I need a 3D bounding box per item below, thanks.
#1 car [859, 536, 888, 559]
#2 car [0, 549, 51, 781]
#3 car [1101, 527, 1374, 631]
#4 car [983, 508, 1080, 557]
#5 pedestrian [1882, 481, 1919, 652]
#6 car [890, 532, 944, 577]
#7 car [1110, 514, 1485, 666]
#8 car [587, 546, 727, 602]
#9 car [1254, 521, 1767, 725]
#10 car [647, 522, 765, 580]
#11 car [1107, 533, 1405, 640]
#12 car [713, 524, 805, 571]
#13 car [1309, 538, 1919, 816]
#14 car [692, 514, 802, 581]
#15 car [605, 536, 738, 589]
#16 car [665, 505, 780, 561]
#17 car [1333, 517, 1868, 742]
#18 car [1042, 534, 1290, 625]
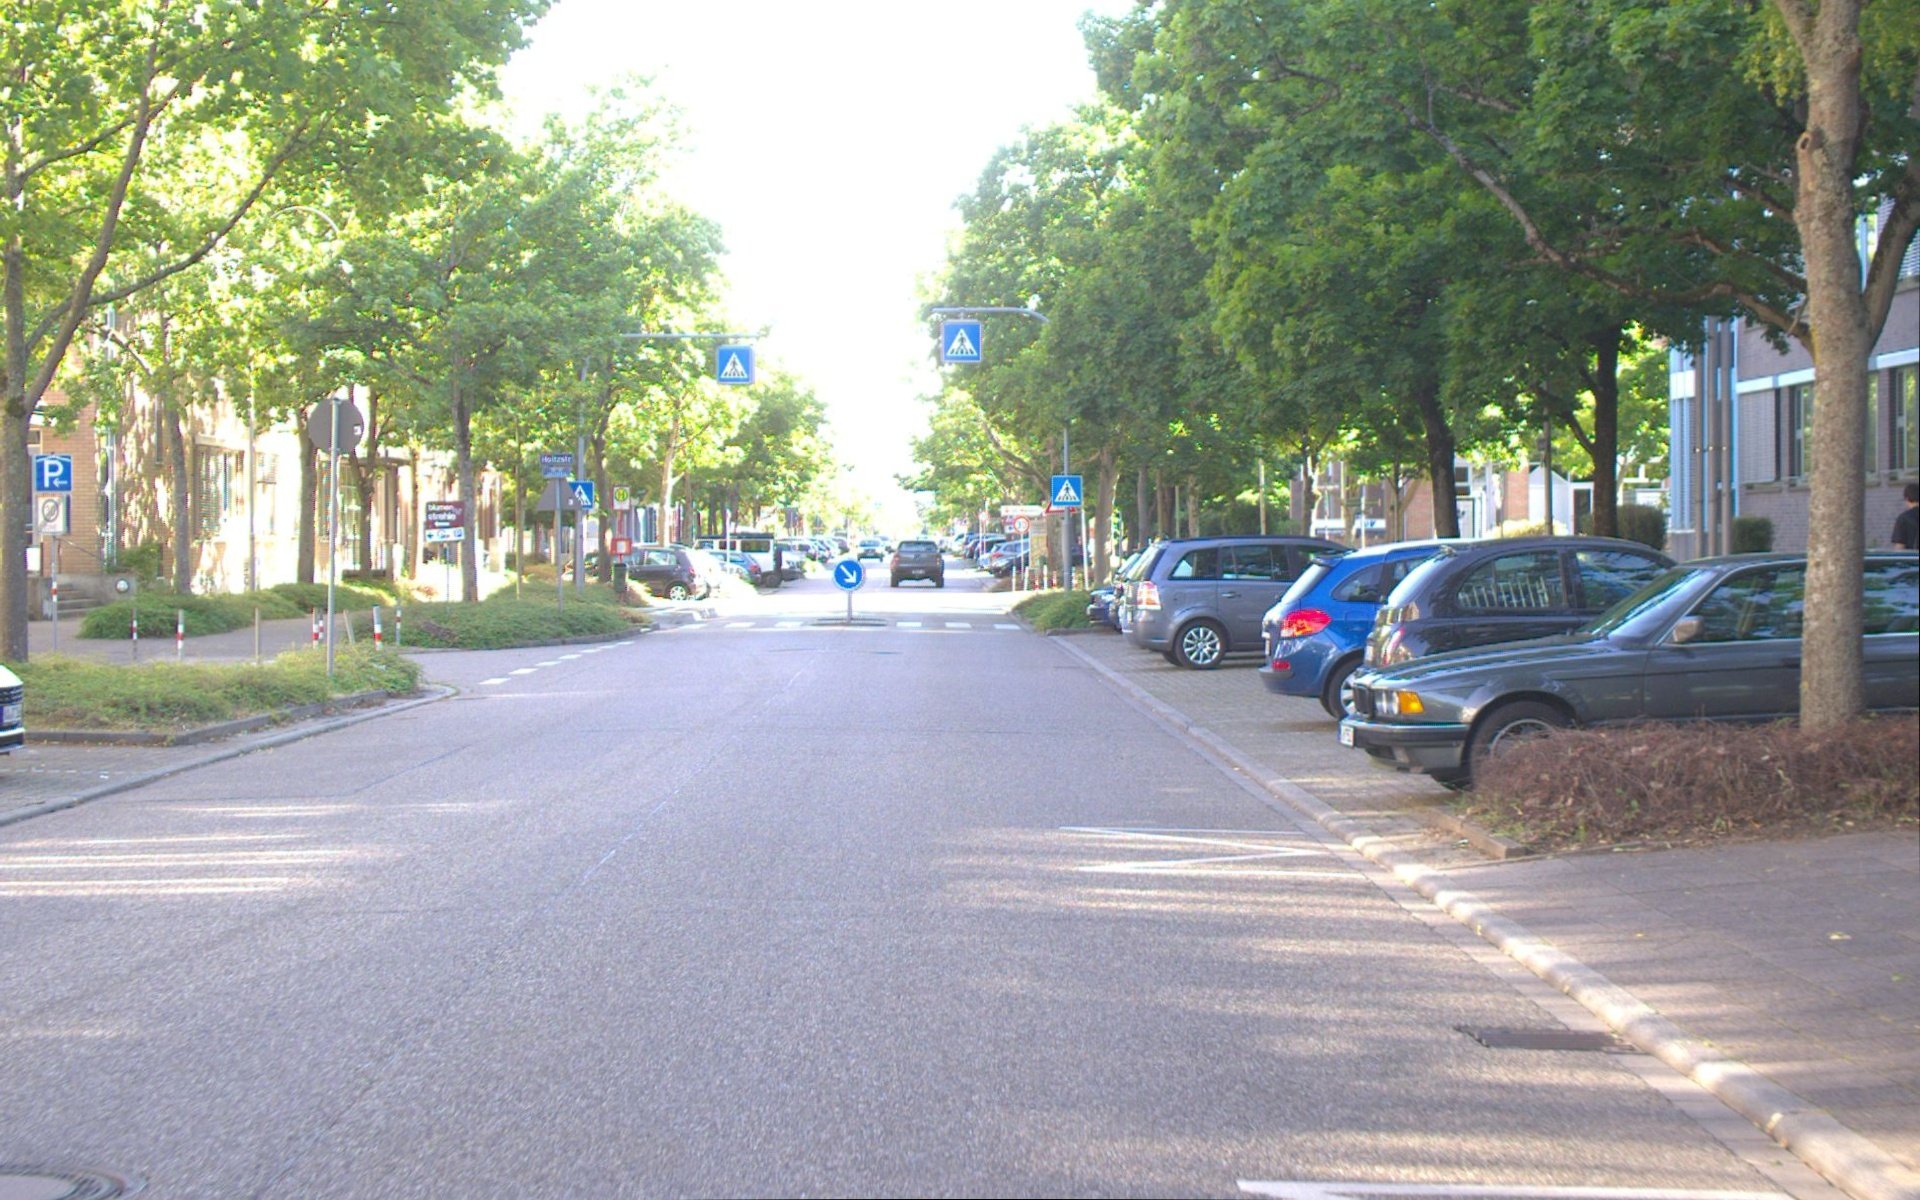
[{"bbox_3d":[-5.755,-3.475,228.854,1.813,1.519,4.000,-1,1,0],"label":"car"},{"bbox_3d":[-8.161,0.394,22.446,3.986,1.481,1.807,1,1,-1],"label":"car"},{"bbox_3d":[4.511,-0.356,56.187,4.190,1.531,1.813,-2,1,-3],"label":"car"},{"bbox_3d":[3.036,-2.871,146.544,3.986,2.007,2.000,-1,1,-2],"label":"car"},{"bbox_3d":[10.016,-0.350,35.581,0.607,1.739,1.191,-1,1,-1],"label":"pedestrian"},{"bbox_3d":[-1.637,-1.732,130.770,1.993,1.634,4.000,1,1,-1],"label":"car"},{"bbox_3d":[4.149,-0.137,42.681,4.350,1.698,1.813,-2,1,-3],"label":"car"},{"bbox_3d":[-8.587,-0.742,97.187,3.847,1.468,1.813,1,1,-7],"label":"car"},{"bbox_3d":[4.502,0.171,28.551,3.949,1.509,1.813,-2,1,1],"label":"car"},{"bbox_3d":[-9.168,-1.769,124.113,3.987,2.007,2.000,-1,1,4],"label":"car"},{"bbox_3d":[4.411,-0.213,51.588,4.190,1.443,1.813,-2,1,-3],"label":"car"},{"bbox_3d":[-8.882,-2.331,151.894,3.986,2.007,2.000,-1,1,-2],"label":"car"},{"bbox_3d":[4.604,0.389,20.107,4.824,1.415,2.032,-2,1,-2],"label":"car"},{"bbox_3d":[-8.207,-2.026,132.671,3.987,2.532,1.862,1,1,4],"label":"car"},{"bbox_3d":[-8.582,-1.112,101.995,3.848,1.468,1.813,1,1,-6],"label":"car"},{"bbox_3d":[-8.802,-2.474,127.476,3.987,2.007,2.000,-1,1,4],"label":"car"},{"bbox_3d":[4.760,0.199,25.906,3.641,1.509,1.813,-2,1,0],"label":"car"},{"bbox_3d":[3.647,-0.374,61.245,4.190,1.468,1.813,-2,1,-3],"label":"car"}]
